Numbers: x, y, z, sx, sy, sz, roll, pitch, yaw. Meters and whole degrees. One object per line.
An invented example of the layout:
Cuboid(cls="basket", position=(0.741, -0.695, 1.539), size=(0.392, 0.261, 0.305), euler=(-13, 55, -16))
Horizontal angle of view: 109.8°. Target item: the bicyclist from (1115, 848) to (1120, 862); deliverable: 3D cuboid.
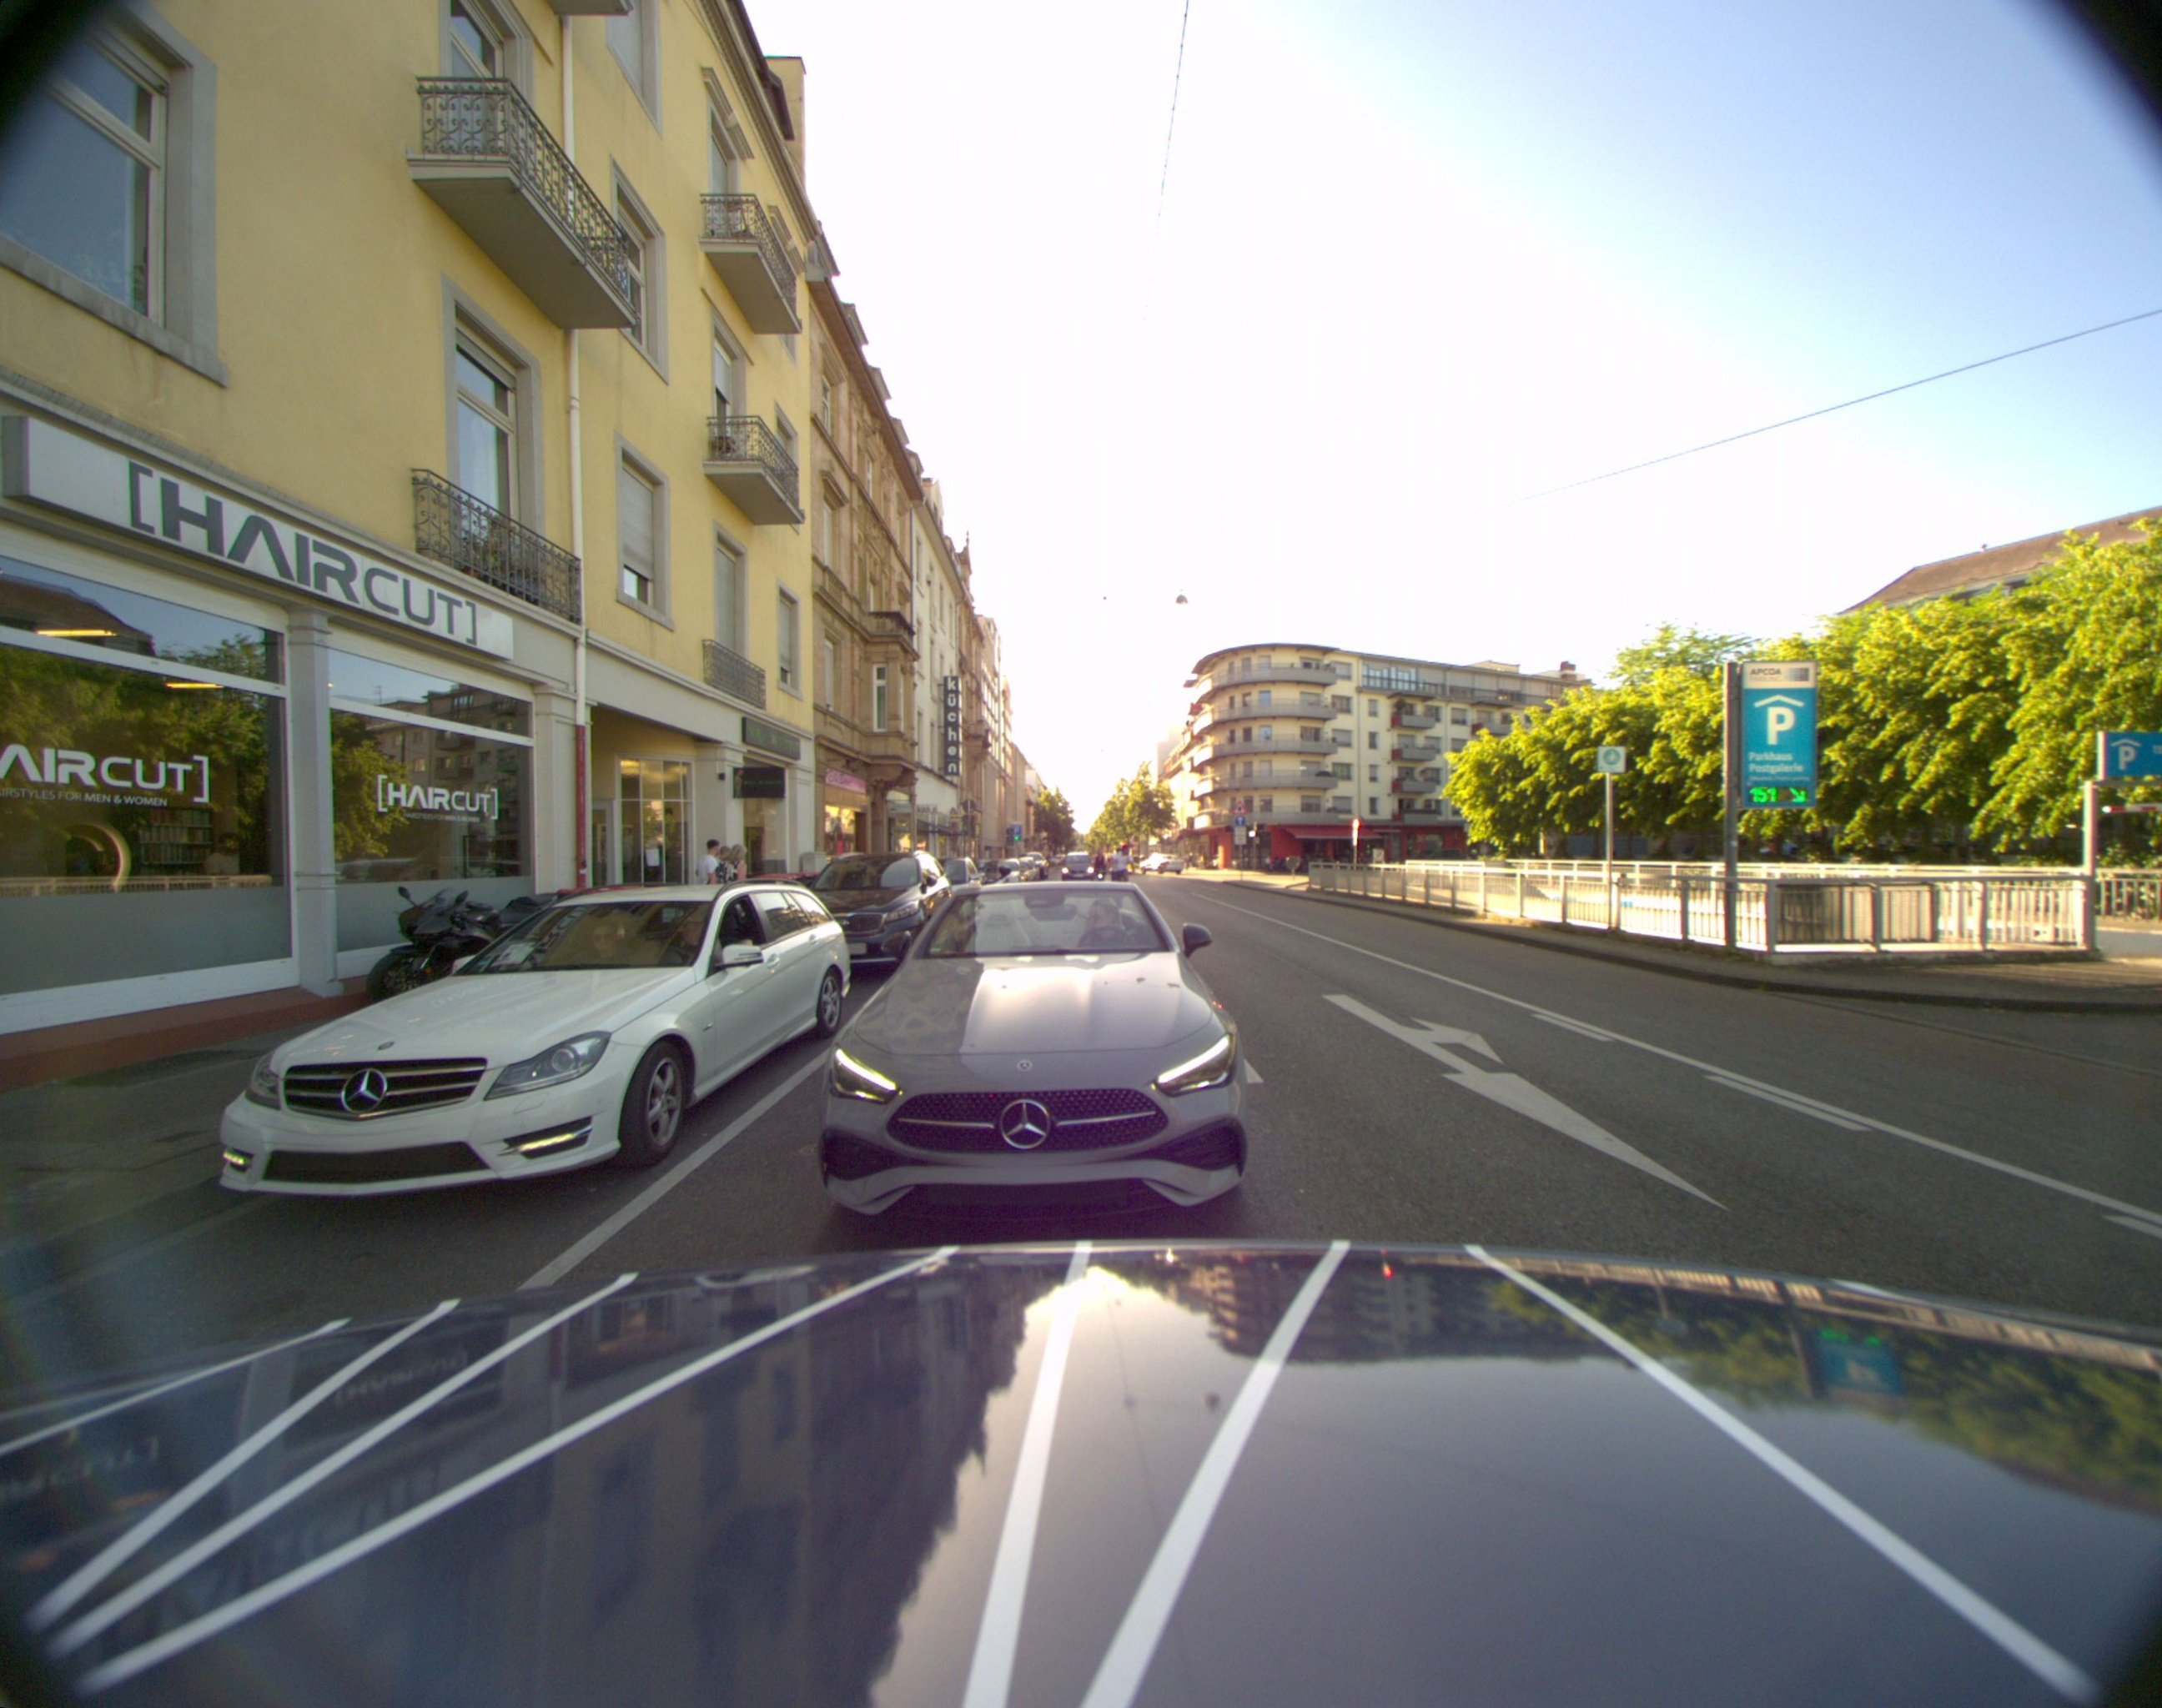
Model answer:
Cuboid(cls="bicyclist", position=(4.188, 0.093, 86.165), size=(0.524, 1.539, 0.798), euler=(-2, 1, 3))

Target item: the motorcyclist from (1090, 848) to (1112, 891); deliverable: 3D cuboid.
Cuboid(cls="motorcyclist", position=(0.688, 0.517, 26.320), size=(0.722, 1.438, 0.705), euler=(-2, 1, 1))

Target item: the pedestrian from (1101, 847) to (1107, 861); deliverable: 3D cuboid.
Cuboid(cls="pedestrian", position=(3.447, -0.061, 112.659), size=(0.860, 2.002, 0.889), euler=(-2, 1, 1))

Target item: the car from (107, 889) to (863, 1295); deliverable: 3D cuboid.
Cuboid(cls="car", position=(-3.056, 1.076, 5.285), size=(1.704, 1.351, 4.378), euler=(-2, 1, 1))

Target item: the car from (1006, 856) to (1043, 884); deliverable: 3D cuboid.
Cuboid(cls="car", position=(-3.055, 0.846, 41.401), size=(1.725, 1.332, 3.668), euler=(-2, 1, -1))

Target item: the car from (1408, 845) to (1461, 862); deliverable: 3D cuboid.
Cuboid(cls="car", position=(29.053, -0.061, 62.433), size=(4.004, 1.294, 1.753), euler=(-2, 1, -23))

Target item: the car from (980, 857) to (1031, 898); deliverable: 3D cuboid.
Cuboid(cls="car", position=(-2.989, 0.912, 30.822), size=(1.660, 1.423, 4.085), euler=(-2, 1, -1))

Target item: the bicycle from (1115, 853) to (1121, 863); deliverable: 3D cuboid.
Cuboid(cls="bicycle", position=(4.205, 0.450, 86.191), size=(0.527, 1.163, 1.593), euler=(-2, 1, 3))

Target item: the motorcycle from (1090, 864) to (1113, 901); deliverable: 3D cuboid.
Cuboid(cls="motorcycle", position=(0.702, 0.957, 26.288), size=(0.720, 1.177, 1.906), euler=(-2, 1, 1))

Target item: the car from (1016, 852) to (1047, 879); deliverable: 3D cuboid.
Cuboid(cls="car", position=(-3.054, 0.694, 47.516), size=(1.725, 1.506, 4.004), euler=(-2, 1, -1))

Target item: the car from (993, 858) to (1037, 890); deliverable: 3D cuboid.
Cuboid(cls="car", position=(-3.144, 0.935, 36.809), size=(1.802, 1.332, 3.838), euler=(-2, 1, -1))

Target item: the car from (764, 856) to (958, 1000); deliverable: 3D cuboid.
Cuboid(cls="car", position=(-3.005, 0.898, 11.344), size=(1.803, 1.629, 4.243), euler=(-2, 1, -3))

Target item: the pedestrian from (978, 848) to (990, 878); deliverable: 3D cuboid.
Cuboid(cls="pedestrian", position=(-5.941, 0.545, 46.474), size=(0.574, 1.840, 0.665), euler=(-2, 1, 1))

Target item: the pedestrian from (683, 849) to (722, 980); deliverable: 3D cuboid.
Cuboid(cls="pedestrian", position=(-5.850, 0.905, 11.776), size=(0.374, 1.971, 0.693), euler=(-1, 1, -15))

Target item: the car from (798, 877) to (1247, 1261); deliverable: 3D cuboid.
Cuboid(cls="car", position=(-0.264, 0.951, 5.142), size=(1.802, 1.351, 3.999), euler=(-2, 1, -1))

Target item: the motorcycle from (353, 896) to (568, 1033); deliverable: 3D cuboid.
Cuboid(cls="motorcycle", position=(-6.187, 1.042, 7.748), size=(0.567, 1.072, 1.954), euler=(2, 1, 1))

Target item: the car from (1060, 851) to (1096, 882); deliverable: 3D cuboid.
Cuboid(cls="car", position=(-0.123, 0.650, 42.188), size=(1.856, 1.543, 3.999), euler=(-2, 1, 1))

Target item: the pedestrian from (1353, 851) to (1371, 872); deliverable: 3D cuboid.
Cuboid(cls="pedestrian", position=(21.886, 0.580, 59.186), size=(0.863, 1.586, 0.887), euler=(-3, 1, -38))

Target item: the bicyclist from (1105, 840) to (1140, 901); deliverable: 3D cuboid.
Cuboid(cls="bicyclist", position=(1.138, 0.460, 21.091), size=(0.885, 1.625, 0.769), euler=(-3, 0, 1))

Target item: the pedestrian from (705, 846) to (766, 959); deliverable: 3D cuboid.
Cuboid(cls="pedestrian", position=(-5.800, 0.798, 12.774), size=(0.664, 1.840, 0.575), euler=(-2, 1, 2))

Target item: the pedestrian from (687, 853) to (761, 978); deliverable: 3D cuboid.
Cuboid(cls="pedestrian", position=(-4.868, 0.818, 10.402), size=(0.719, 1.644, 0.606), euler=(1, 1, 1))

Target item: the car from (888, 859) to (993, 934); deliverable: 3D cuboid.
Cuboid(cls="car", position=(-3.291, 0.939, 18.621), size=(1.802, 1.518, 4.085), euler=(-2, 1, -1))

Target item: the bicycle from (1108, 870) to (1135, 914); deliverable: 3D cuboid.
Cuboid(cls="bicycle", position=(1.096, 1.017, 20.916), size=(0.640, 1.078, 2.061), euler=(-2, 0, 1))

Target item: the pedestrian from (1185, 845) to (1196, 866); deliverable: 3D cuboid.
Cuboid(cls="pedestrian", position=(10.334, 0.130, 71.850), size=(0.860, 2.002, 0.889), euler=(-2, 1, 0))

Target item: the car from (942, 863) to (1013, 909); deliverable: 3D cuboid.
Cuboid(cls="car", position=(-3.380, 1.022, 25.464), size=(1.802, 1.259, 4.085), euler=(-2, 1, -1))

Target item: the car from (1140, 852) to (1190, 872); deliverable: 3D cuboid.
Cuboid(cls="car", position=(6.110, 0.576, 55.962), size=(1.827, 1.346, 4.256), euler=(0, 1, -22))
